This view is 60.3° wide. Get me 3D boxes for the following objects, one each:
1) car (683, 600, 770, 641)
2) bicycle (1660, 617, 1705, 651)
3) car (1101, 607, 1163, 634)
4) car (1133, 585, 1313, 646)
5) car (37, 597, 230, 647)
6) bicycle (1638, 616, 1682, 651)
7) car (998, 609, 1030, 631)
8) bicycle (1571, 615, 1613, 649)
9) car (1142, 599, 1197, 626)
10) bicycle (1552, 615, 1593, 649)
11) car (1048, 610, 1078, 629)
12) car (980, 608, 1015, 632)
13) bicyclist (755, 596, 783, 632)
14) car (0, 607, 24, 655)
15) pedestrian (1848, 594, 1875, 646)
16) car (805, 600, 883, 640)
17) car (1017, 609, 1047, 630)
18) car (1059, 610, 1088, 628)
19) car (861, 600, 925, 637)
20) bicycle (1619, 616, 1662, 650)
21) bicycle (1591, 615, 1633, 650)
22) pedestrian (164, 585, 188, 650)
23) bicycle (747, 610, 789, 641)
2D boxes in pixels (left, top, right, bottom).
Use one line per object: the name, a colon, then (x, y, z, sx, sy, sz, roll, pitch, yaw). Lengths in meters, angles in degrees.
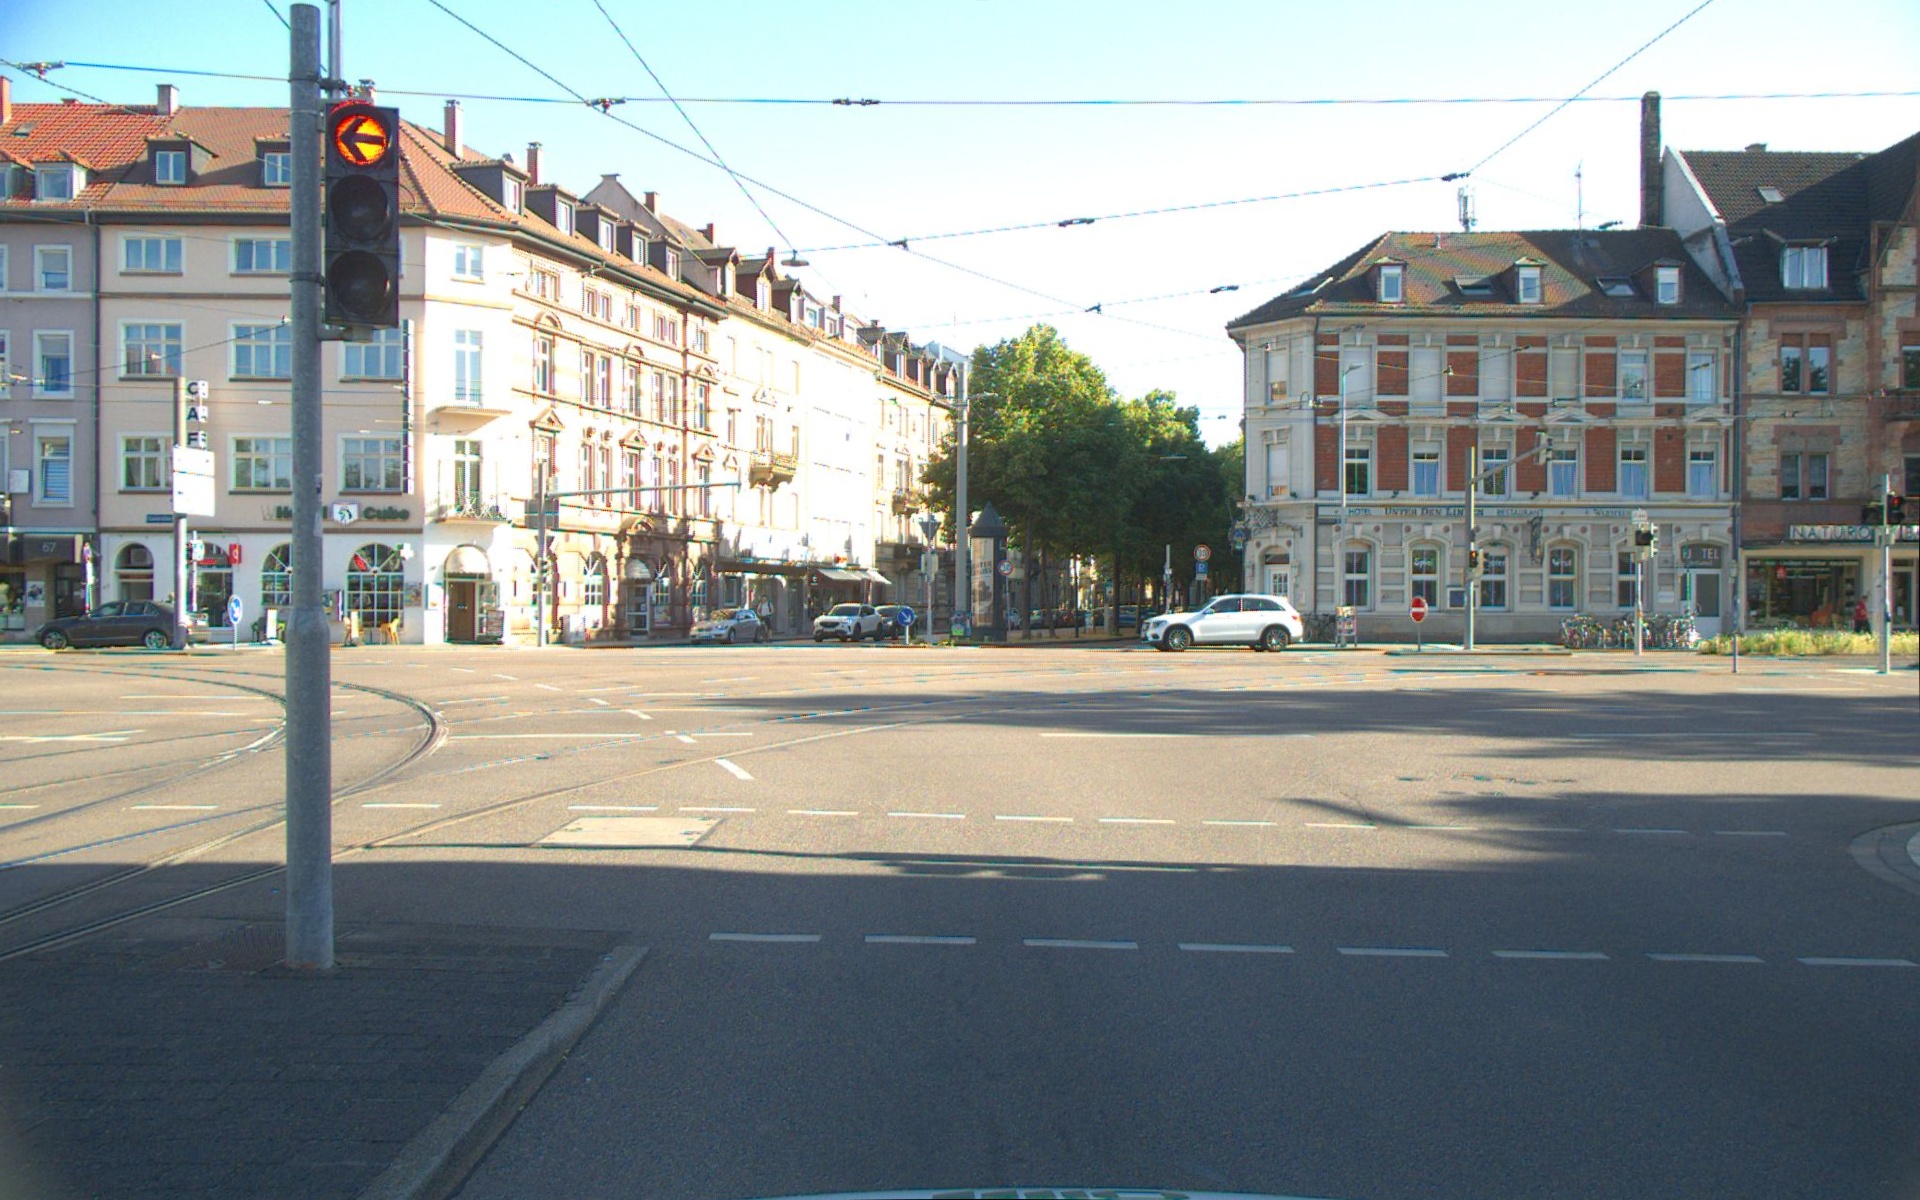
car: (-9.453, 0.812, 67.228, 2.052, 1.572, 4.367, 0, 0, 13)
bicycle: (23.326, 1.085, 53.428, 0.593, 1.069, 1.641, 0, 0, -6)
car: (12.004, 1.403, 115.390, 4.024, 1.675, 1.748, 3, 0, 15)
car: (7.484, 0.435, 47.352, 4.754, 1.689, 1.997, 0, 0, -6)
car: (-23.244, 0.595, 46.634, 4.420, 1.364, 1.999, 0, 0, -3)
bicycle: (22.600, 1.073, 53.407, 0.593, 1.069, 1.641, 0, 0, -6)
car: (3.804, 1.357, 115.847, 1.704, 1.422, 4.127, 3, 0, 9)
bicycle: (20.462, 1.037, 53.573, 0.593, 1.069, 1.641, 0, 0, -6)
car: (16.958, 1.013, 133.670, 4.026, 1.952, 1.746, 3, 0, 21)
bicycle: (19.822, 1.025, 53.518, 0.593, 1.069, 1.641, 0, 0, -6)
car: (8.245, 1.538, 131.713, 1.704, 1.422, 4.127, 3, 0, 13)
car: (2.526, 1.310, 110.023, 1.704, 1.422, 4.127, 3, 0, 9)
bicyclist: (-7.562, 0.544, 65.472, 0.776, 1.399, 1.109, 0, 0, 14)
car: (-32.066, 0.999, 52.164, 3.910, 1.489, 1.998, -1, 1, -6)
pedestrian: (30.853, 0.686, 56.621, 0.694, 1.782, 0.421, 0, 0, 0)
car: (-4.654, 0.790, 67.087, 2.052, 1.525, 4.003, 0, 0, 13)
car: (5.335, 1.414, 122.846, 1.704, 1.422, 4.127, 3, 0, 9)
car: (9.422, 1.574, 136.509, 1.704, 1.422, 4.127, 3, 0, 13)
car: (-2.962, 0.798, 73.480, 1.951, 1.540, 4.004, 0, 0, 11)
bicycle: (21.940, 1.061, 53.331, 0.593, 1.069, 1.641, 0, 0, -6)
bicycle: (21.114, 1.048, 53.599, 0.593, 1.069, 1.641, 0, 0, -6)
pedestrian: (-24.670, 0.539, 52.043, 0.498, 2.049, 0.505, 0, 0, 2)
bicycle: (-7.577, 0.995, 65.502, 0.734, 1.155, 2.812, 0, 0, 14)
